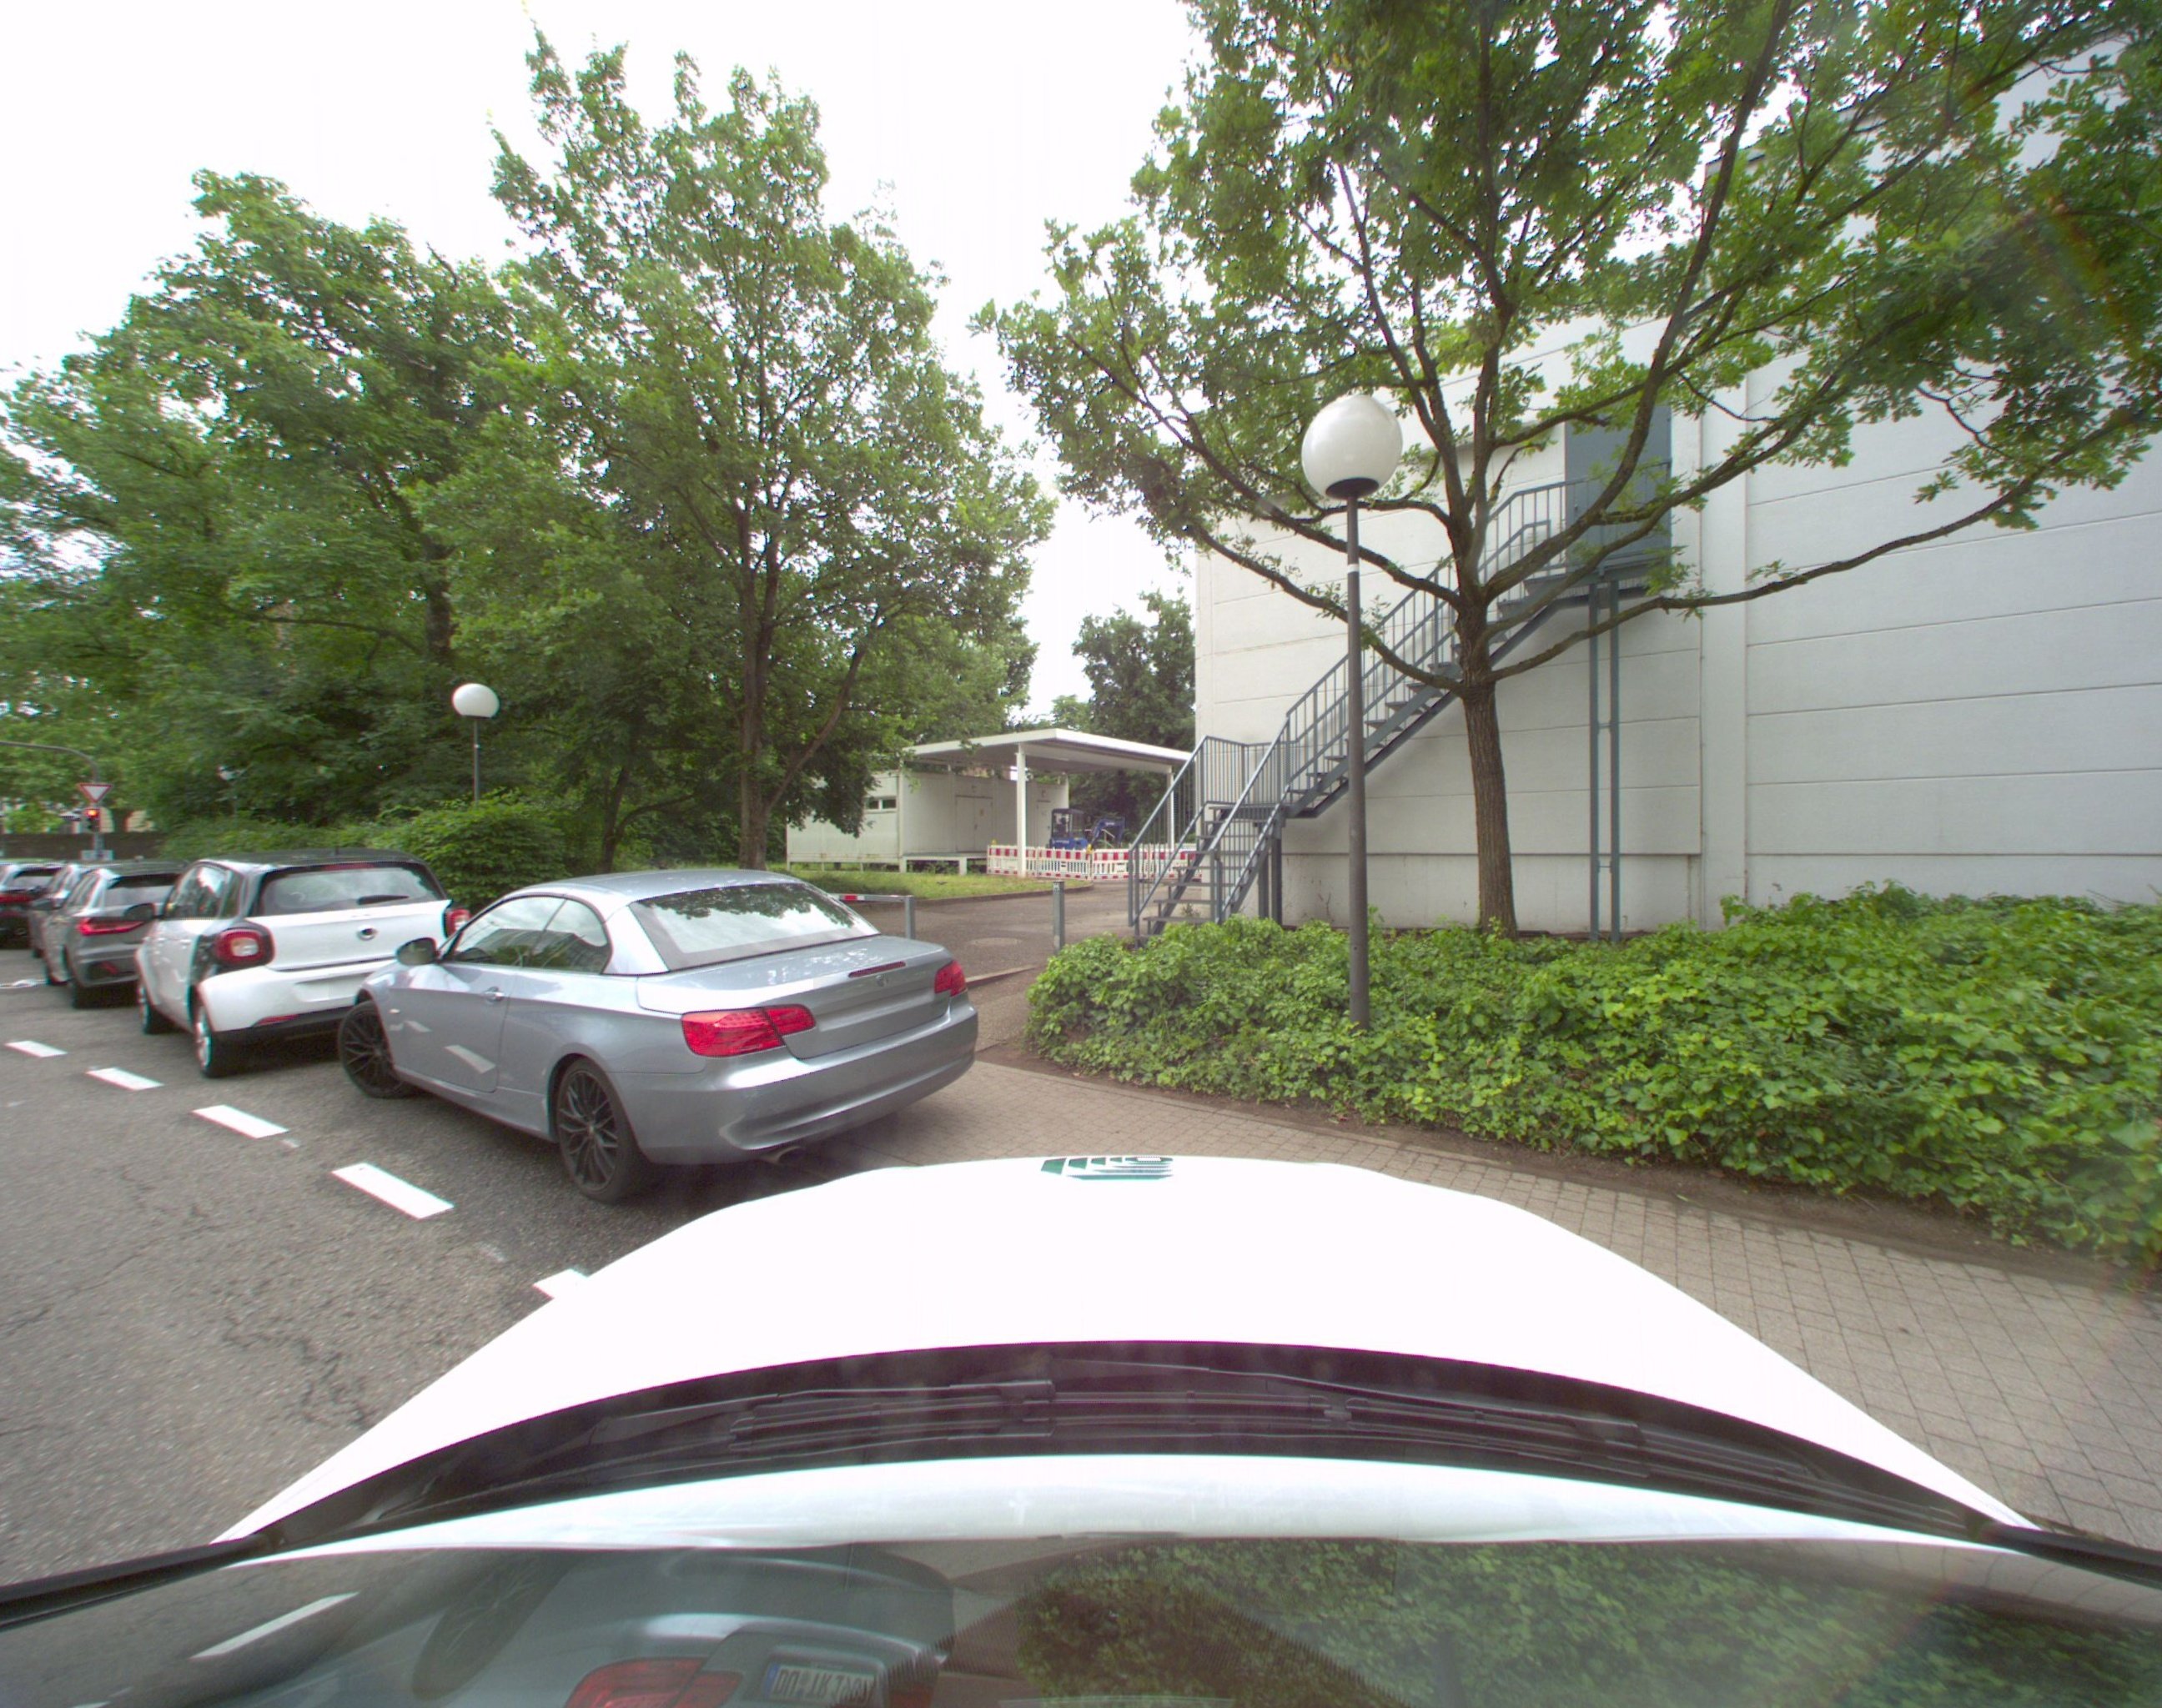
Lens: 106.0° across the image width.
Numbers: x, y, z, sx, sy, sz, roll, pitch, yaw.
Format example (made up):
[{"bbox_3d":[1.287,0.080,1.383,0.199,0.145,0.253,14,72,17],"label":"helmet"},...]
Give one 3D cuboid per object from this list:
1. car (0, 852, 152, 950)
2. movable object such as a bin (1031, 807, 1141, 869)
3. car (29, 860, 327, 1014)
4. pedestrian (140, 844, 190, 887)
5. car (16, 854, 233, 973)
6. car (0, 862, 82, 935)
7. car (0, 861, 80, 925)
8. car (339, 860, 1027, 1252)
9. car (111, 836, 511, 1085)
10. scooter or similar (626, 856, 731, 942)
[{"bbox_3d":[-18.720,0.771,14.903,4.471,1.561,1.815,-1,0,36],"label":"car"},{"bbox_3d":[0.304,-0.568,31.001,1.974,2.171,4.700,0,0,33],"label":"movable object such as a bin"},{"bbox_3d":[-10.591,0.800,9.493,3.956,1.411,1.780,-1,1,34],"label":"car"},{"bbox_3d":[-34.993,0.430,31.121,0.651,1.619,1.048,-1,1,14],"label":"pedestrian"},{"bbox_3d":[-14.315,0.761,12.142,3.775,1.471,1.779,0,1,36],"label":"car"},{"bbox_3d":[-23.390,0.921,17.889,4.281,1.408,1.815,0,1,39],"label":"car"},{"bbox_3d":[-27.335,0.960,20.987,4.193,1.469,1.815,0,1,37],"label":"car"},{"bbox_3d":[-2.545,0.763,4.902,4.140,1.388,1.835,0,1,33],"label":"car"},{"bbox_3d":[-6.733,0.687,7.020,3.827,1.586,1.733,-1,1,35],"label":"car"},{"bbox_3d":[-5.974,0.645,12.131,1.304,1.210,0.449,-1,1,-14],"label":"scooter or similar"}]
